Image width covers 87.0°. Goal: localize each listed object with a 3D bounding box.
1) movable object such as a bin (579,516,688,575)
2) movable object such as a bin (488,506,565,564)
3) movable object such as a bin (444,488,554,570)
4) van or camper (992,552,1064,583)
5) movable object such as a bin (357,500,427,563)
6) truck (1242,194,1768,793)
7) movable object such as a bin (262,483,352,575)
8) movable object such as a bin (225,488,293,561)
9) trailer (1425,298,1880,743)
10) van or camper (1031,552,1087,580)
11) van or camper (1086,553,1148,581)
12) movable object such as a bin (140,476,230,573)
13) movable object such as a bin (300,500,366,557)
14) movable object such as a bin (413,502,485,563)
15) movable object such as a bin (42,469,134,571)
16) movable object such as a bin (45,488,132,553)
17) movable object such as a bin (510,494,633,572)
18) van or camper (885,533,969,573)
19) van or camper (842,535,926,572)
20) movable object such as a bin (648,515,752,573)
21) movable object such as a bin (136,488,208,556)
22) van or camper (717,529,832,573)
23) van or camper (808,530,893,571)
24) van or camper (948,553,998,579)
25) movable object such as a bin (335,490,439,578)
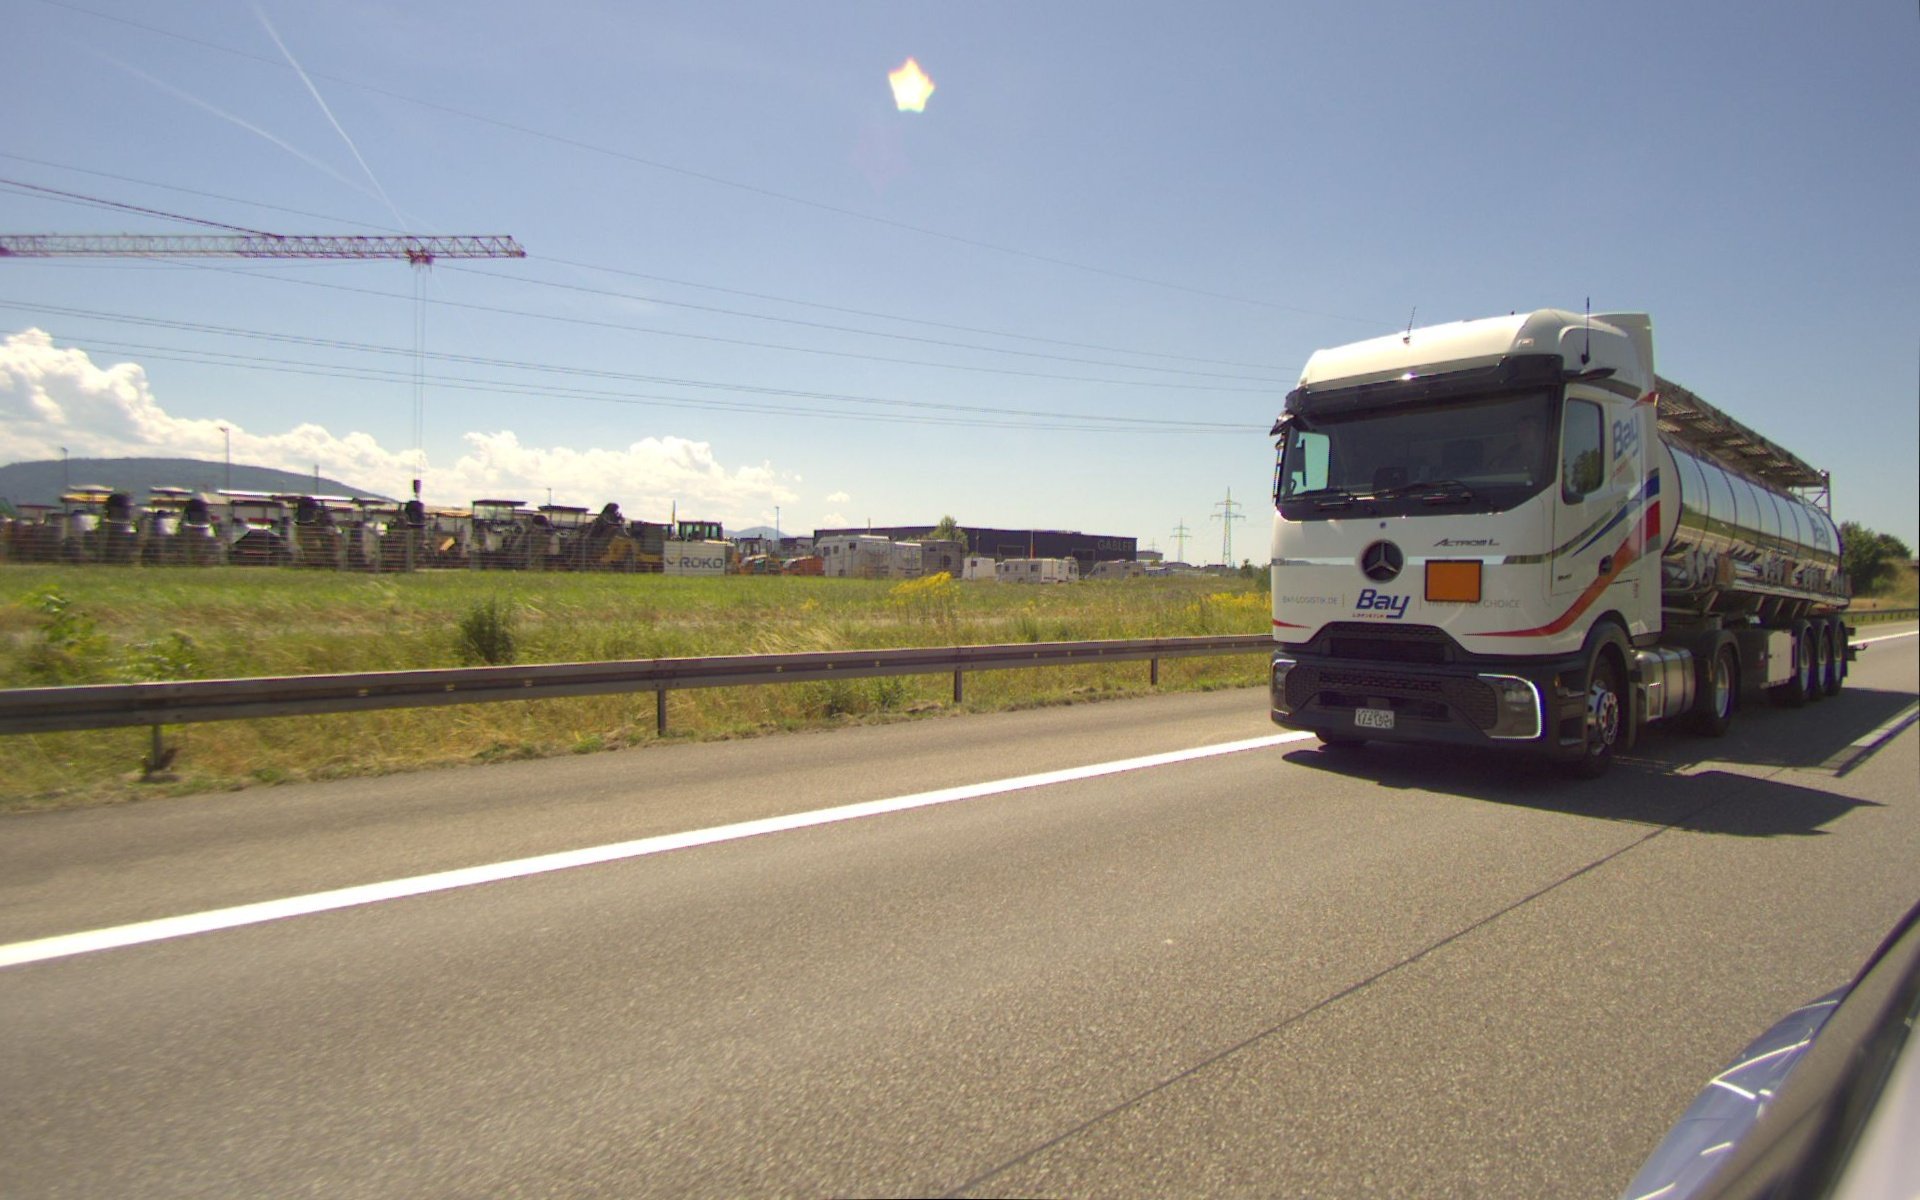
[{"bbox_3d":[-18.394,-3.097,56.627,2.902,3.043,8.754,0,3,-38],"label":"movable object such as a bin"},{"bbox_3d":[-29.410,-4.369,68.385,2.867,3.615,9.075,0,3,-35],"label":"movable object such as a bin"},{"bbox_3d":[-23.695,-3.611,51.637,2.922,3.734,9.746,0,3,-38],"label":"movable object such as a bin"},{"bbox_3d":[6.367,-3.127,95.523,3.267,2.710,6.364,0,2,-41],"label":"van or camper"},{"bbox_3d":[-35.830,-4.280,63.692,2.867,3.615,9.075,0,3,-35],"label":"movable object such as a bin"},{"bbox_3d":[5.676,-0.740,10.019,6.281,4.124,2.577,0,0,-41],"label":"truck"},{"bbox_3d":[-30.014,-3.234,46.315,2.585,3.734,9.746,0,3,-38],"label":"movable object such as a bin"},{"bbox_3d":[-41.321,-4.393,59.642,3.076,3.884,8.778,0,3,-35],"label":"movable object such as a bin"},{"bbox_3d":[10.147,-0.737,13.969,10.910,4.126,2.584,0,0,-41],"label":"trailer"},{"bbox_3d":[9.891,-3.434,101.622,2.572,2.710,5.266,0,2,-42],"label":"van or camper"},{"bbox_3d":[16.552,-3.483,107.042,2.380,2.801,6.457,0,2,-42],"label":"van or camper"},{"bbox_3d":[-33.634,-3.238,43.748,2.631,3.734,9.740,0,3,-40],"label":"movable object such as a bin"},{"bbox_3d":[-38.327,-4.322,61.696,2.867,3.188,8.720,0,3,-35],"label":"movable object such as a bin"},{"bbox_3d":[-33.423,-4.370,66.002,2.867,3.615,9.075,0,3,-35],"label":"movable object such as a bin"},{"bbox_3d":[-35.954,-3.247,41.851,2.631,3.734,9.740,0,3,-40],"label":"movable object such as a bin"},{"bbox_3d":[-47.320,-4.260,55.158,2.867,3.188,8.008,0,3,-35],"label":"movable object such as a bin"},{"bbox_3d":[-20.863,-3.565,53.872,3.356,3.734,9.745,0,3,-38],"label":"movable object such as a bin"},{"bbox_3d":[-2.322,-3.225,69.127,2.394,2.584,6.360,1,2,-38],"label":"van or camper"},{"bbox_3d":[-5.089,-3.097,67.060,2.555,2.247,6.133,0,2,-38],"label":"van or camper"},{"bbox_3d":[-15.271,-3.288,58.868,3.152,3.043,8.765,0,3,-34],"label":"movable object such as a bin"},{"bbox_3d":[-44.432,-4.348,57.248,2.867,3.466,8.216,0,3,-35],"label":"movable object such as a bin"},{"bbox_3d":[-11.880,-3.125,64.051,3.103,2.552,9.337,0,2,-38],"label":"van or camper"},{"bbox_3d":[-7.098,-3.189,65.080,2.555,2.431,6.133,0,2,-38],"label":"van or camper"},{"bbox_3d":[1.430,-3.838,113.346,5.257,2.799,2.576,3,2,43],"label":"van or camper"},{"bbox_3d":[-27.525,-3.141,48.336,2.922,3.734,9.746,0,3,-38],"label":"movable object such as a bin"}]
